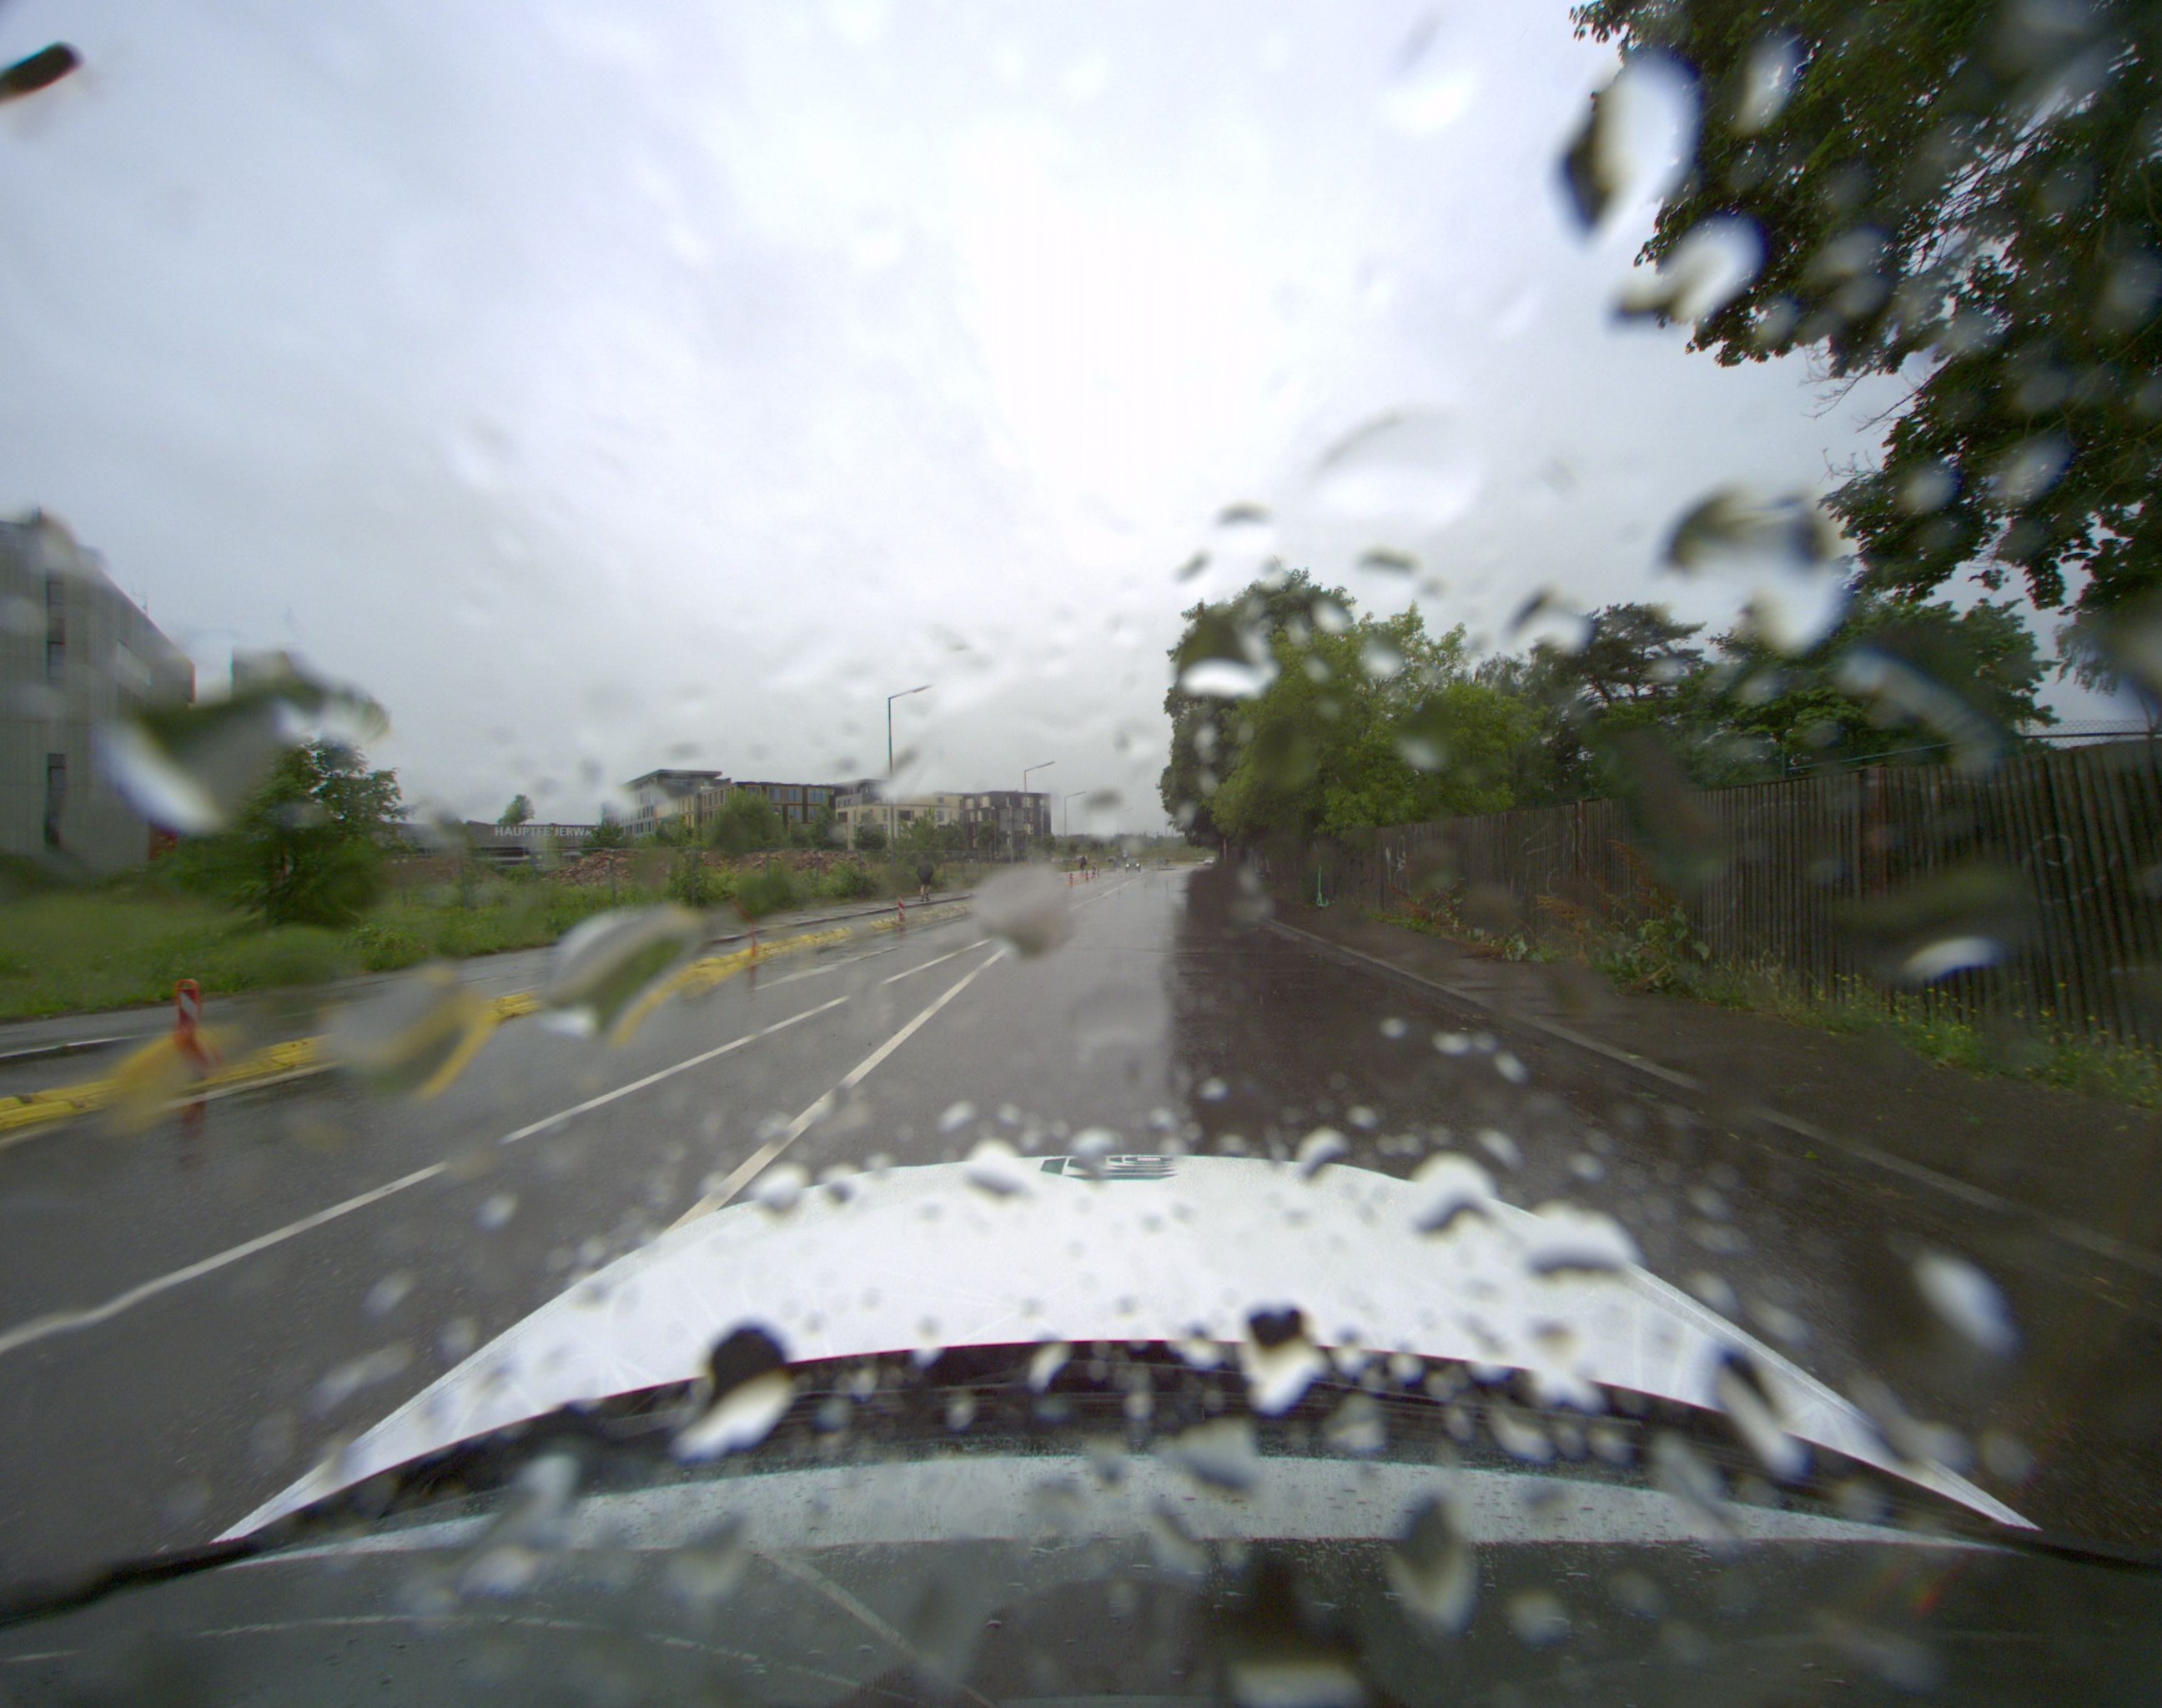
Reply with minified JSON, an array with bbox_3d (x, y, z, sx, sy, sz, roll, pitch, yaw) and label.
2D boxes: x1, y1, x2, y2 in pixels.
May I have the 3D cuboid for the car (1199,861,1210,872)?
[{"bbox_3d":[22.930,2.322,151.293,1.981,1.772,4.010,-1,-3,9],"label":"car"}]

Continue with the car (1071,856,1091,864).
[{"bbox_3d":[0.082,1.378,180.805,4.018,1.772,1.977,1,-3,-37],"label":"car"}]

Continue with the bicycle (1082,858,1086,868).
[{"bbox_3d":[0.342,1.000,88.462,0.425,1.019,1.612,-1,-1,2],"label":"bicycle"}]

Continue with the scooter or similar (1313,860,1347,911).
[{"bbox_3d":[6.212,0.768,20.352,0.489,1.235,1.372,-1,-1,4],"label":"scooter or similar"}]

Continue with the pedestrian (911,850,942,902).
[{"bbox_3d":[-6.100,0.865,32.287,0.841,2.014,1.135,-1,-3,10],"label":"pedestrian"}]

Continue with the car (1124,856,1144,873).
[{"bbox_3d":[5.787,1.150,88.799,1.983,1.772,4.007,-1,-1,6],"label":"car"}]

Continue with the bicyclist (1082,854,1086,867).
[{"bbox_3d":[0.322,0.747,88.542,0.442,1.404,0.550,-1,-3,3],"label":"bicyclist"}]
